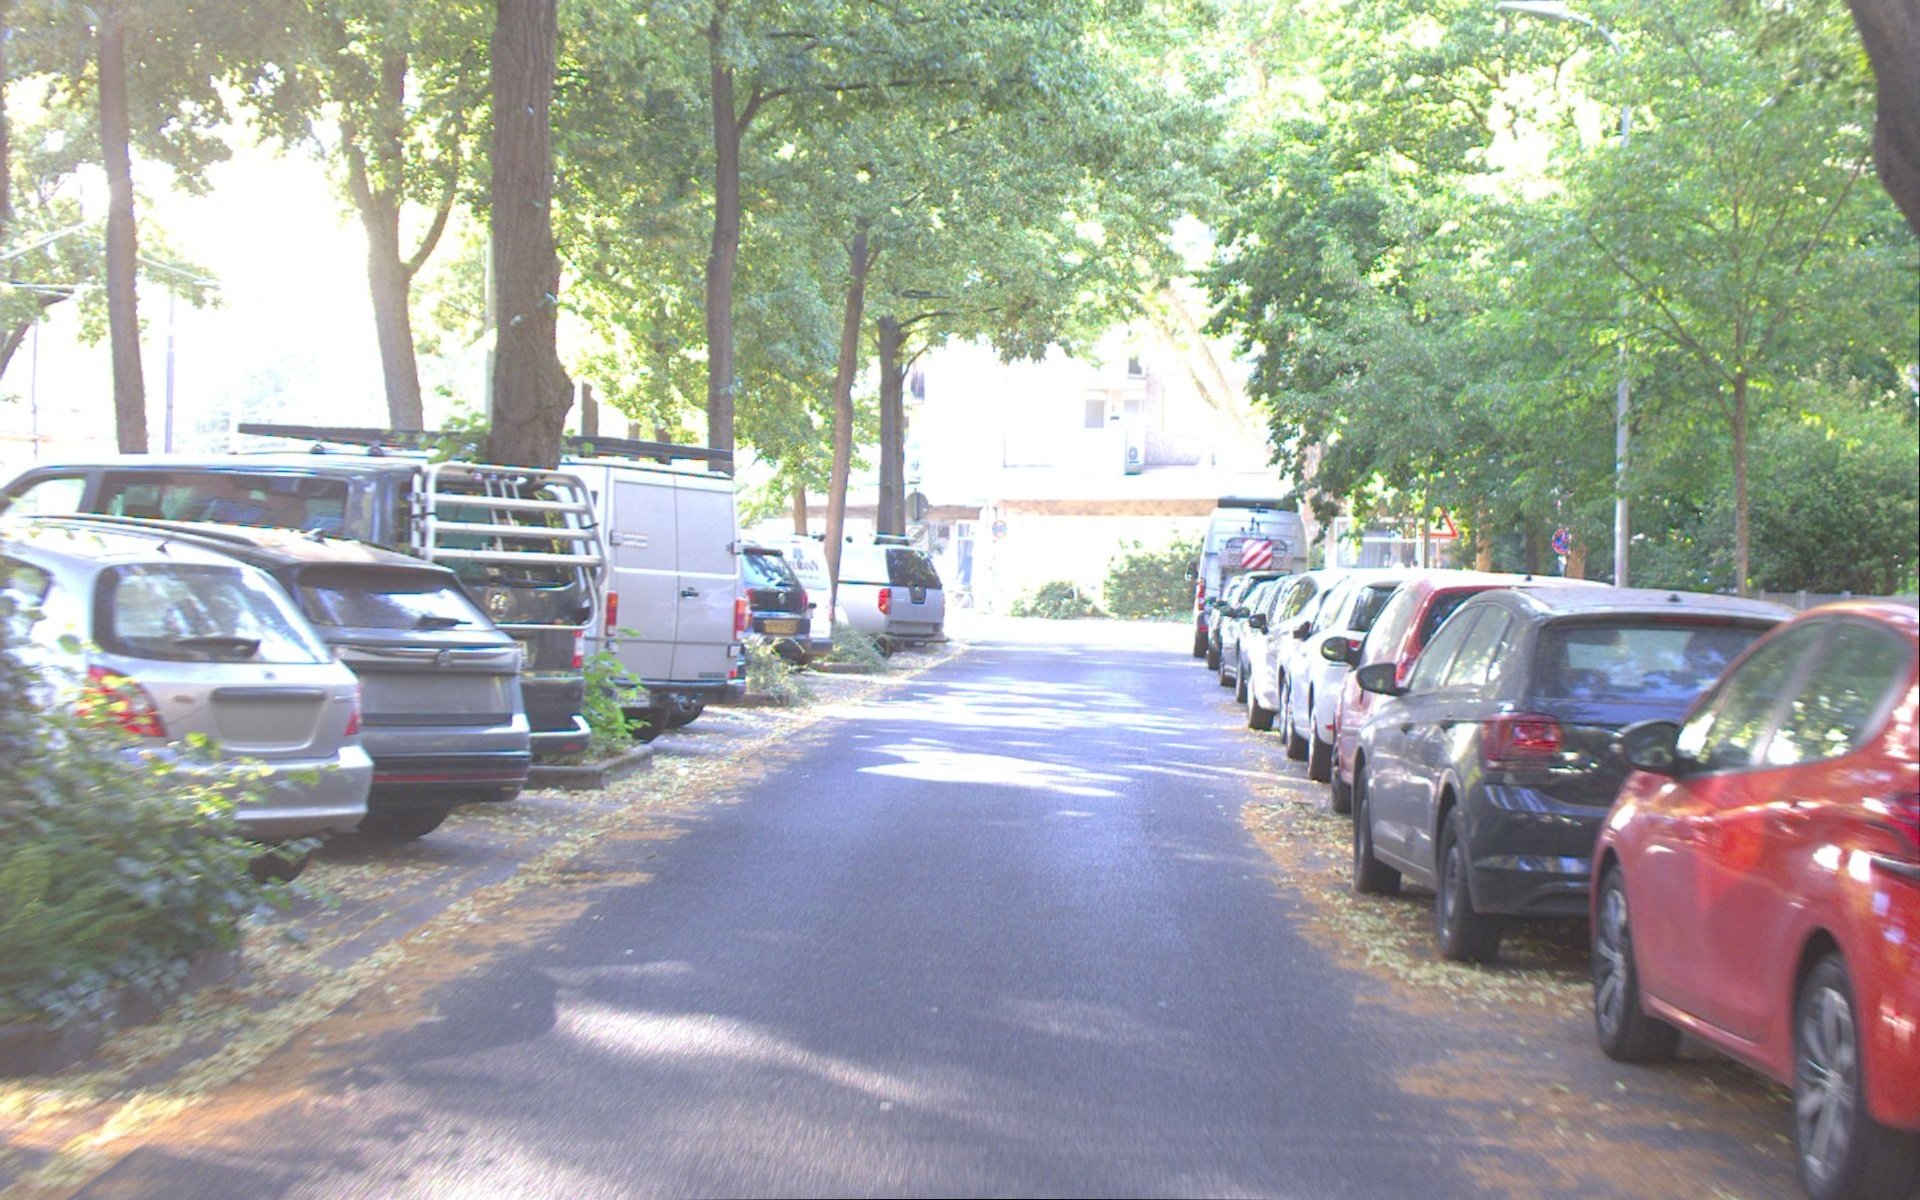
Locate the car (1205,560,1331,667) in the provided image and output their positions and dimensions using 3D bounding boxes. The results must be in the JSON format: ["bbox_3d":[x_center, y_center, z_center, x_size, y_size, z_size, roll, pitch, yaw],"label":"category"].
[{"bbox_3d":[4.631,0.175,52.114,1.680,1.520,4.489,1,1,3],"label":"car"}]

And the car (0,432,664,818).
[{"bbox_3d":[-4.251,0.075,20.447,4.708,1.936,1.930,4,1,35],"label":"car"}]

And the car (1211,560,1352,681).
[{"bbox_3d":[4.326,0.242,46.698,1.680,1.520,4.287,1,1,3],"label":"car"}]

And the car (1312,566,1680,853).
[{"bbox_3d":[2.967,0.552,19.652,1.591,1.449,3.555,1,1,1],"label":"car"}]

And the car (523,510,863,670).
[{"bbox_3d":[-3.519,-0.145,44.911,4.157,1.775,1.879,4,1,38],"label":"car"}]

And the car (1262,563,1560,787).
[{"bbox_3d":[3.176,0.475,24.881,1.680,1.449,4.076,1,1,1],"label":"car"}]

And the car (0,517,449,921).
[{"bbox_3d":[-4.408,0.373,14.917,4.088,1.483,1.780,4,1,33],"label":"car"}]

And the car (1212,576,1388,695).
[{"bbox_3d":[3.972,0.379,40.729,1.680,1.279,4.287,1,1,1],"label":"car"}]

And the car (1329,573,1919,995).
[{"bbox_3d":[2.582,0.641,14.225,1.672,1.449,3.949,1,1,0],"label":"car"}]

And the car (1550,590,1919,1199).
[{"bbox_3d":[2.766,0.735,9.224,1.672,1.449,3.949,1,1,0],"label":"car"}]

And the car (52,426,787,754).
[{"bbox_3d":[-4.271,-0.118,26.797,5.507,2.130,2.077,4,1,31],"label":"car"}]

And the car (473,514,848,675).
[{"bbox_3d":[-3.650,-0.075,41.691,4.155,1.638,1.911,4,1,34],"label":"car"}]

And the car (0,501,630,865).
[{"bbox_3d":[-4.120,0.323,17.682,4.566,1.535,1.930,4,1,35],"label":"car"}]

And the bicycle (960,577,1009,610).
[{"bbox_3d":[0.706,-0.187,98.726,0.542,0.901,1.736,1,1,-32],"label":"bicycle"}]

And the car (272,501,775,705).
[{"bbox_3d":[-4.198,0.021,32.843,4.513,1.611,1.850,4,1,32],"label":"car"}]

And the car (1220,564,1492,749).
[{"bbox_3d":[3.358,0.439,29.853,1.680,1.449,4.076,1,1,-3],"label":"car"}]

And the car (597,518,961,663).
[{"bbox_3d":[-2.691,-0.150,50.790,4.995,1.775,1.984,4,1,30],"label":"car"}]

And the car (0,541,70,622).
[{"bbox_3d":[-20.134,-0.402,70.322,3.645,1.634,1.658,1,1,31],"label":"car"}]

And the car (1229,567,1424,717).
[{"bbox_3d":[3.760,0.384,35.889,1.680,1.419,4.659,1,1,2],"label":"car"}]

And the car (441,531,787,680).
[{"bbox_3d":[-3.930,0.062,38.966,3.423,1.421,1.830,4,1,33],"label":"car"}]

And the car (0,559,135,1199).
[{"bbox_3d":[-4.010,0.500,8.233,3.820,1.434,1.821,4,1,36],"label":"car"}]

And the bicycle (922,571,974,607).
[{"bbox_3d":[-0.357,-0.314,100.439,0.638,1.019,2.088,1,1,-26],"label":"bicycle"}]

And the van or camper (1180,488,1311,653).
[{"bbox_3d":[5.037,-0.531,61.343,2.084,2.753,5.845,1,1,3],"label":"van or camper"}]
